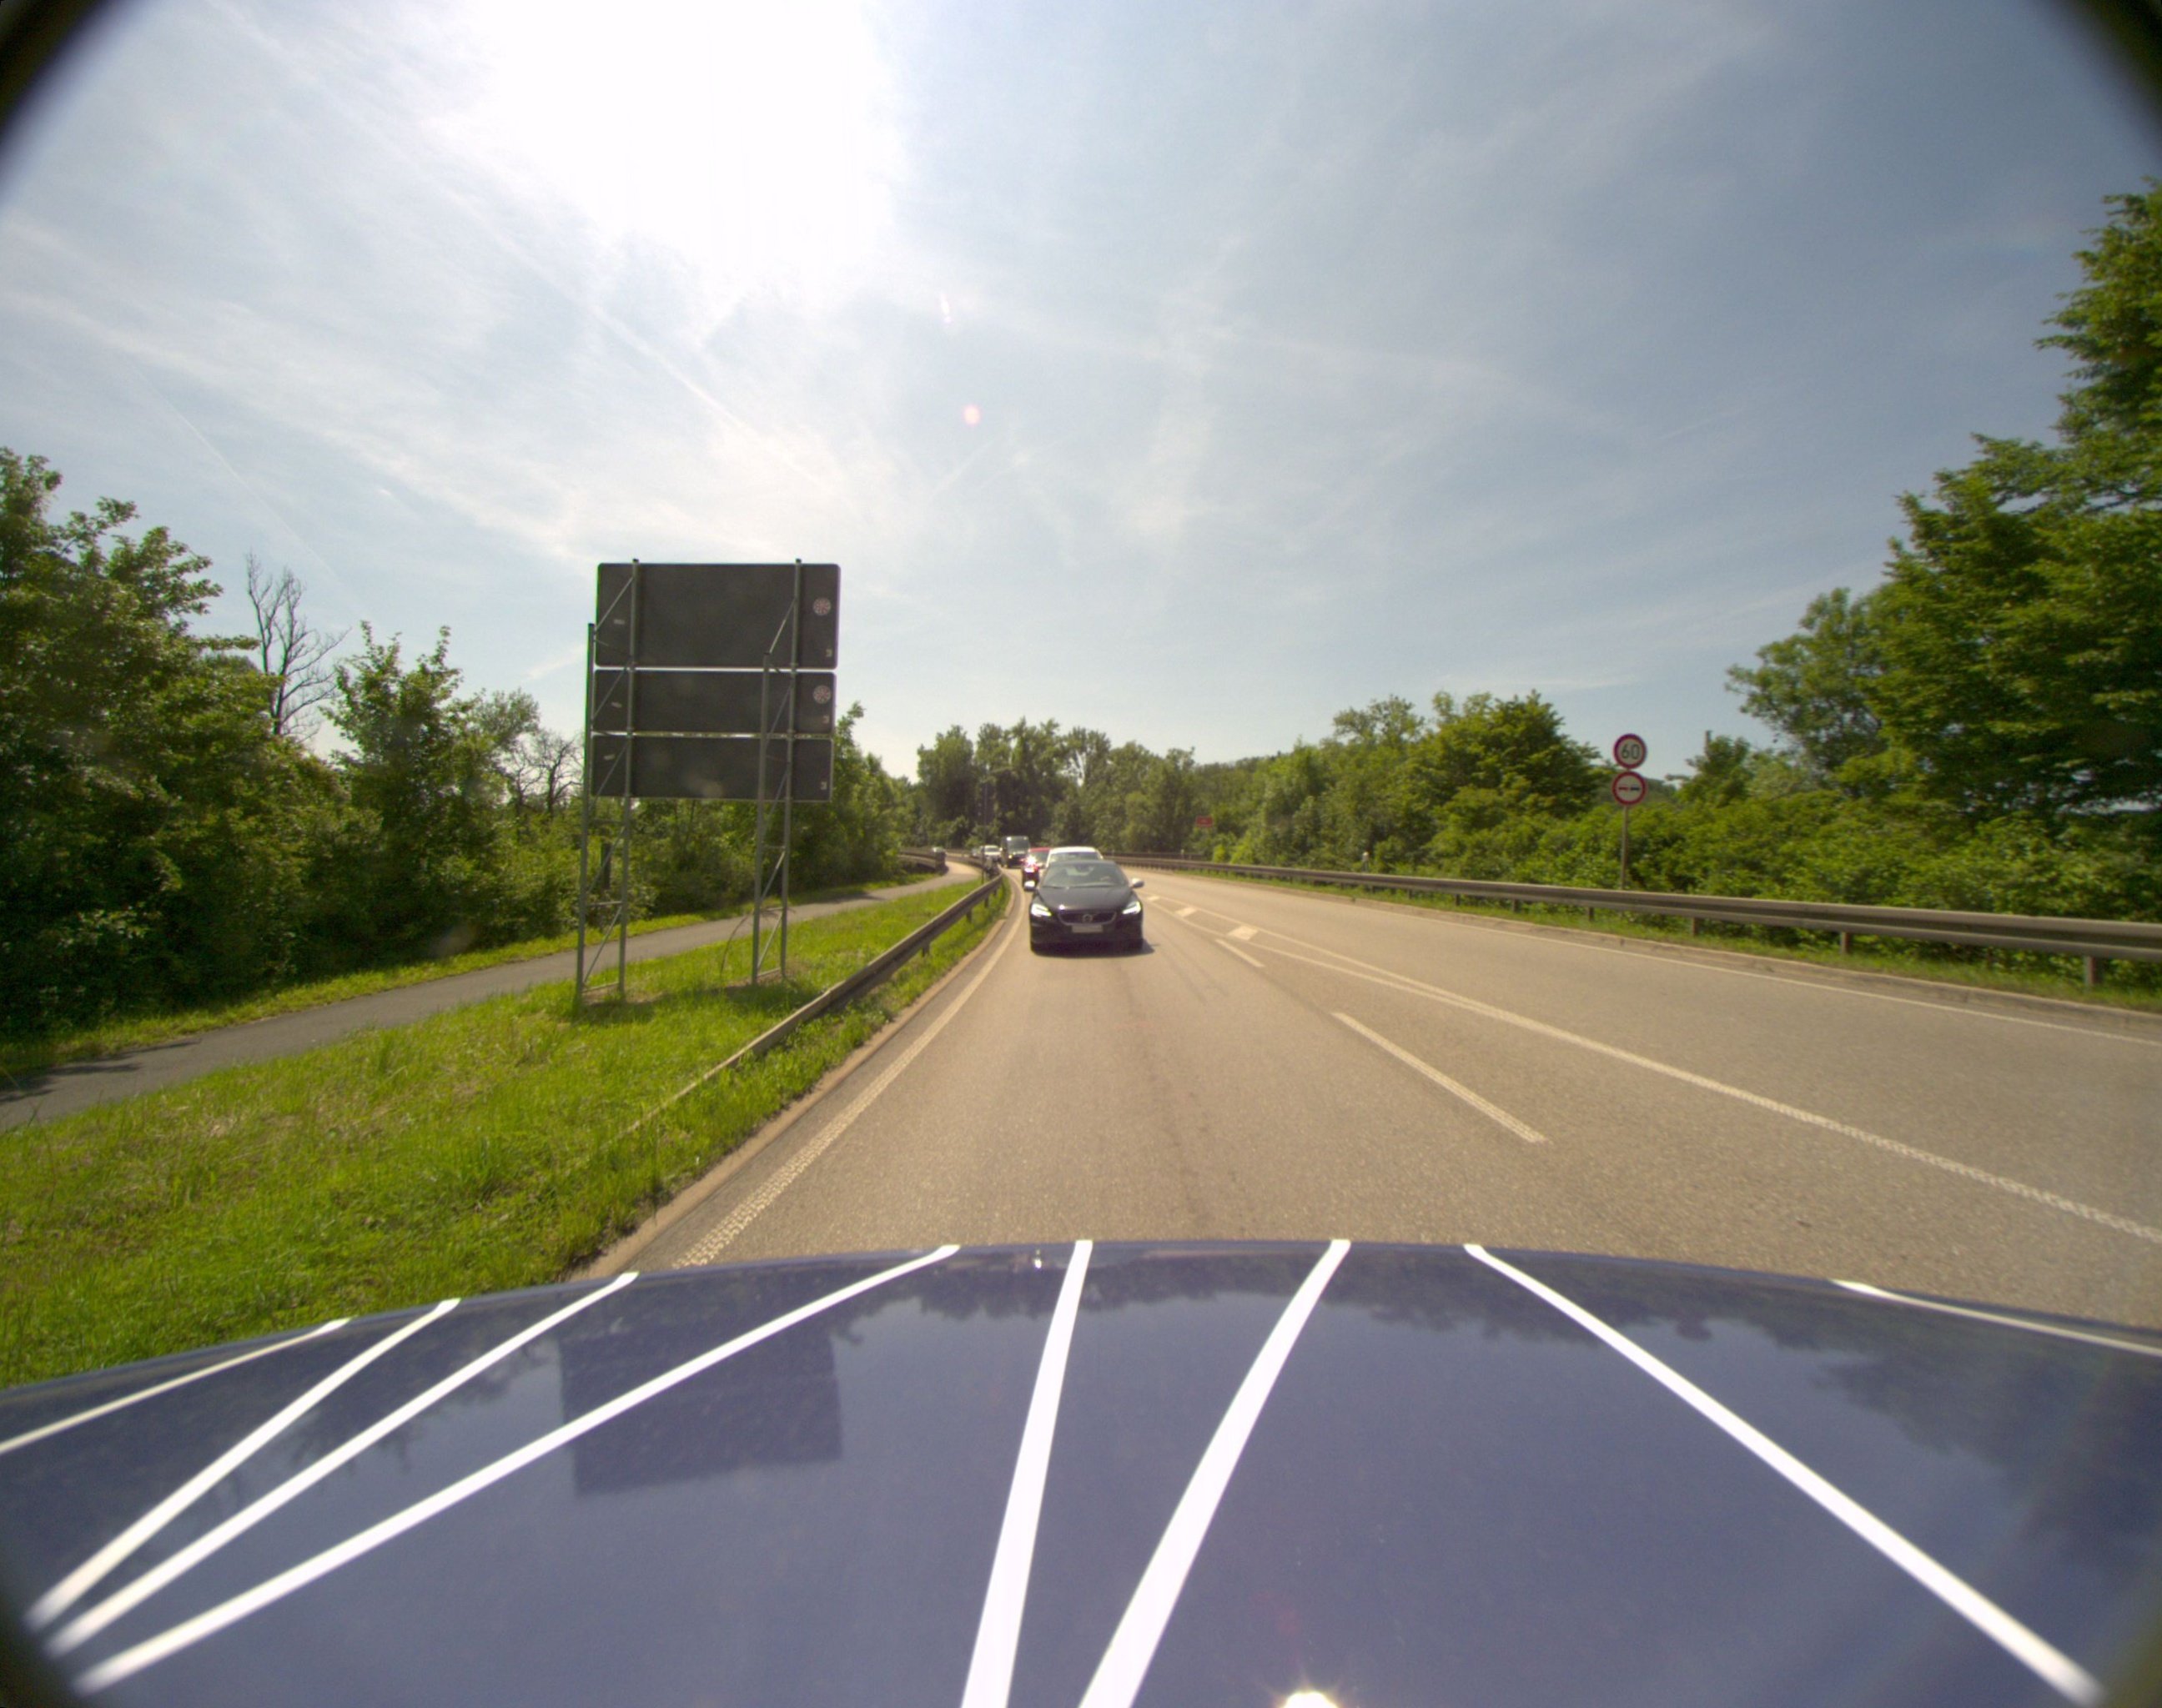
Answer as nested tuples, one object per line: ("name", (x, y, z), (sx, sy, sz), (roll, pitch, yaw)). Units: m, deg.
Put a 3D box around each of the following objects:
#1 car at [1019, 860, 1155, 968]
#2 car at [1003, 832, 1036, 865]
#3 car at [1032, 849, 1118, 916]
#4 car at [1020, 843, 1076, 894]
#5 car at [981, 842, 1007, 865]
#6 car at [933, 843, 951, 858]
("car", (0.054, 0.887, 12.939), (1.909, 1.413, 3.949), (-2, 1, -1))
("car", (-4.898, -0.478, 60.211), (2.000, 2.471, 4.853), (-2, 2, -11))
("car", (-0.266, 0.680, 20.518), (1.910, 1.638, 3.947), (0, 0, -6))
("car", (-1.387, 0.510, 30.334), (1.999, 1.766, 3.997), (-2, 2, -5))
("car", (-8.609, -0.072, 75.022), (2.001, 2.002, 4.706), (-2, 2, -13))
("car", (-20.384, -0.579, 111.422), (2.001, 2.003, 3.993), (-3, 2, -18))
